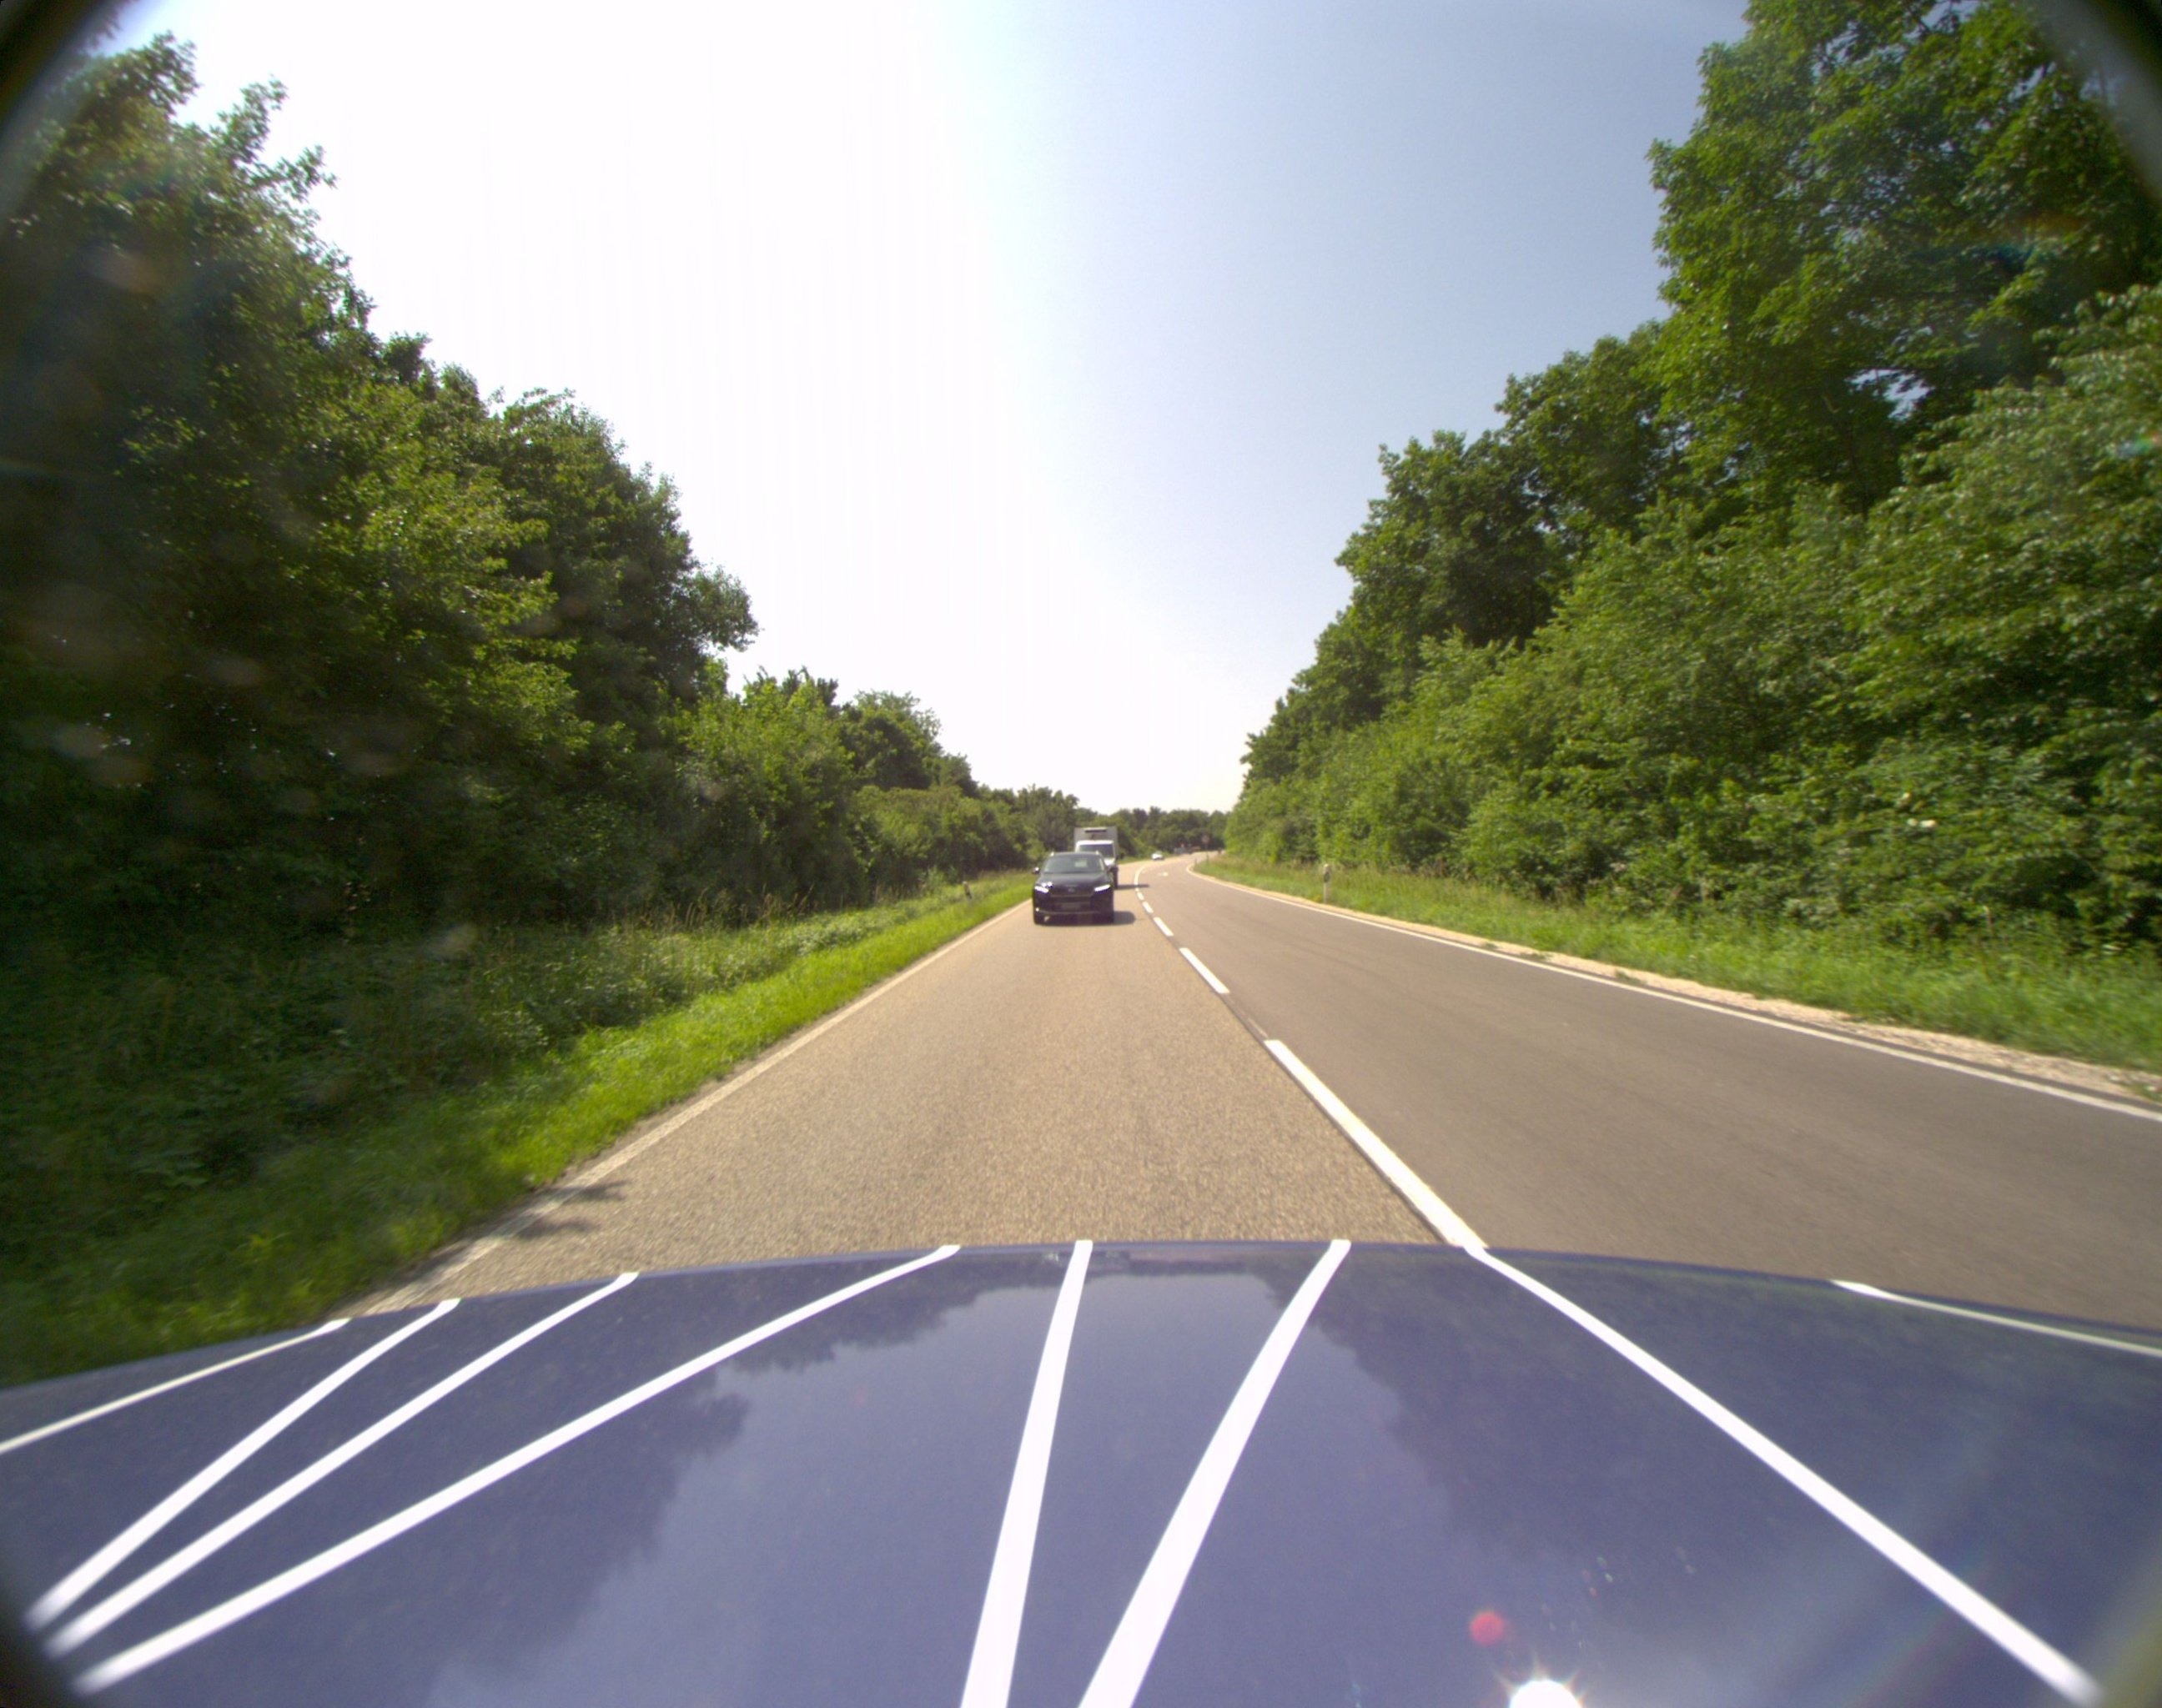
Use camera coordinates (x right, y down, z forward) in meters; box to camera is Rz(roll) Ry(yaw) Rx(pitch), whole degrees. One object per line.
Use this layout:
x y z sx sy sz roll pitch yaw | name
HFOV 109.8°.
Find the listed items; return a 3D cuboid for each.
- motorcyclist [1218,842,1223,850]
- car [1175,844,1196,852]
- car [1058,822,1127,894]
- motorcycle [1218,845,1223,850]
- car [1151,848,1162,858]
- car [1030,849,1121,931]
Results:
31.968 -1.756 174.072 0.832 1.742 0.623 -2 1 4 | motorcyclist
28.679 -1.575 208.685 5.226 1.896 2.013 -4 2 1 | car
0.720 0.076 36.600 2.590 3.047 6.883 -2 2 6 | car
32.098 -1.505 174.731 0.949 1.243 2.683 -2 0 5 | motorcycle
13.757 -0.154 138.290 1.808 1.797 4.002 -2 0 8 | car
-0.114 0.774 19.486 1.924 1.711 5.478 -3 0 0 | car
